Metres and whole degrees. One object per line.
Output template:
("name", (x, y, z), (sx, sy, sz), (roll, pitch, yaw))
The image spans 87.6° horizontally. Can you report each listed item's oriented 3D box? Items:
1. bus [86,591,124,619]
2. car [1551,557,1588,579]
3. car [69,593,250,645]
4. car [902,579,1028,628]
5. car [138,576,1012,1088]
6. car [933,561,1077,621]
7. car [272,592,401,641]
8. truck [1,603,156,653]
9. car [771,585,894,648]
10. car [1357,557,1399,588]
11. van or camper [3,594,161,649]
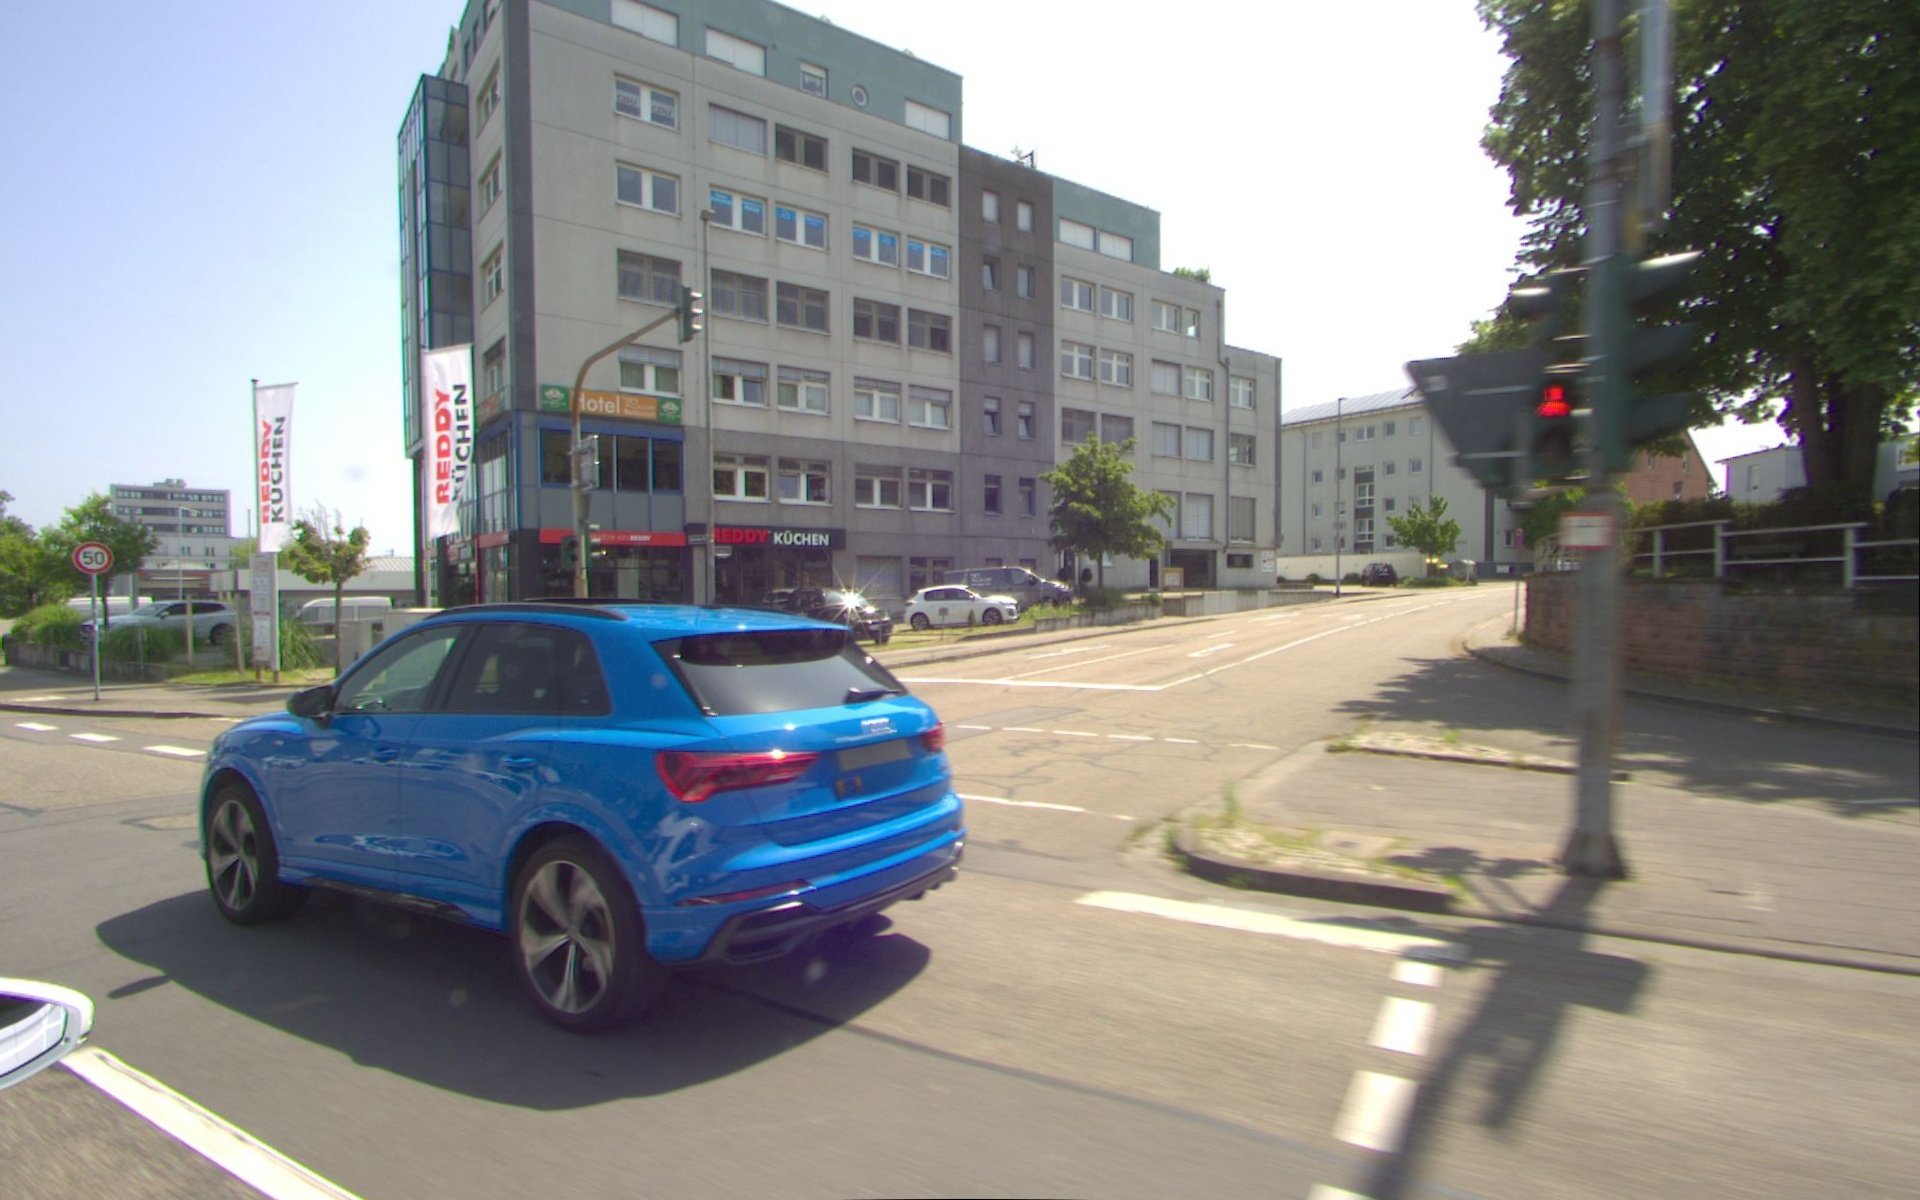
("bus", (-103.733, 0.531, 121.629), (2.780, 3.120, 12.186), (0, 1, -37))
("car", (48.840, -2.561, 80.230), (1.705, 1.528, 3.916), (-2, -2, 44))
("car", (-28.522, 0.719, 35.898), (1.967, 1.735, 4.729), (-1, -2, 23))
("car", (0.197, 0.137, 34.524), (4.144, 1.552, 1.544), (-1, -2, 9))
("car", (-2.090, 0.781, 5.109), (4.331, 1.618, 1.910), (-1, -1, 31))
("car", (1.691, -0.289, 36.889), (5.093, 2.063, 1.891), (0, -2, 9))
("car", (-34.247, 0.948, 55.069), (5.837, 2.560, 2.103), (1, -2, -39))
("truck", (-48.086, 1.452, 54.843), (6.195, 2.369, 2.347), (-2, 2, -40))
("car", (-3.788, 0.485, 29.169), (1.526, 1.697, 4.294), (-1, -1, -39))
("car", (26.240, -1.675, 62.970), (1.845, 1.683, 3.997), (-1, -2, 15))
("van or camper", (-50.944, 1.156, 58.329), (6.746, 2.937, 2.254), (-1, 2, -42))
